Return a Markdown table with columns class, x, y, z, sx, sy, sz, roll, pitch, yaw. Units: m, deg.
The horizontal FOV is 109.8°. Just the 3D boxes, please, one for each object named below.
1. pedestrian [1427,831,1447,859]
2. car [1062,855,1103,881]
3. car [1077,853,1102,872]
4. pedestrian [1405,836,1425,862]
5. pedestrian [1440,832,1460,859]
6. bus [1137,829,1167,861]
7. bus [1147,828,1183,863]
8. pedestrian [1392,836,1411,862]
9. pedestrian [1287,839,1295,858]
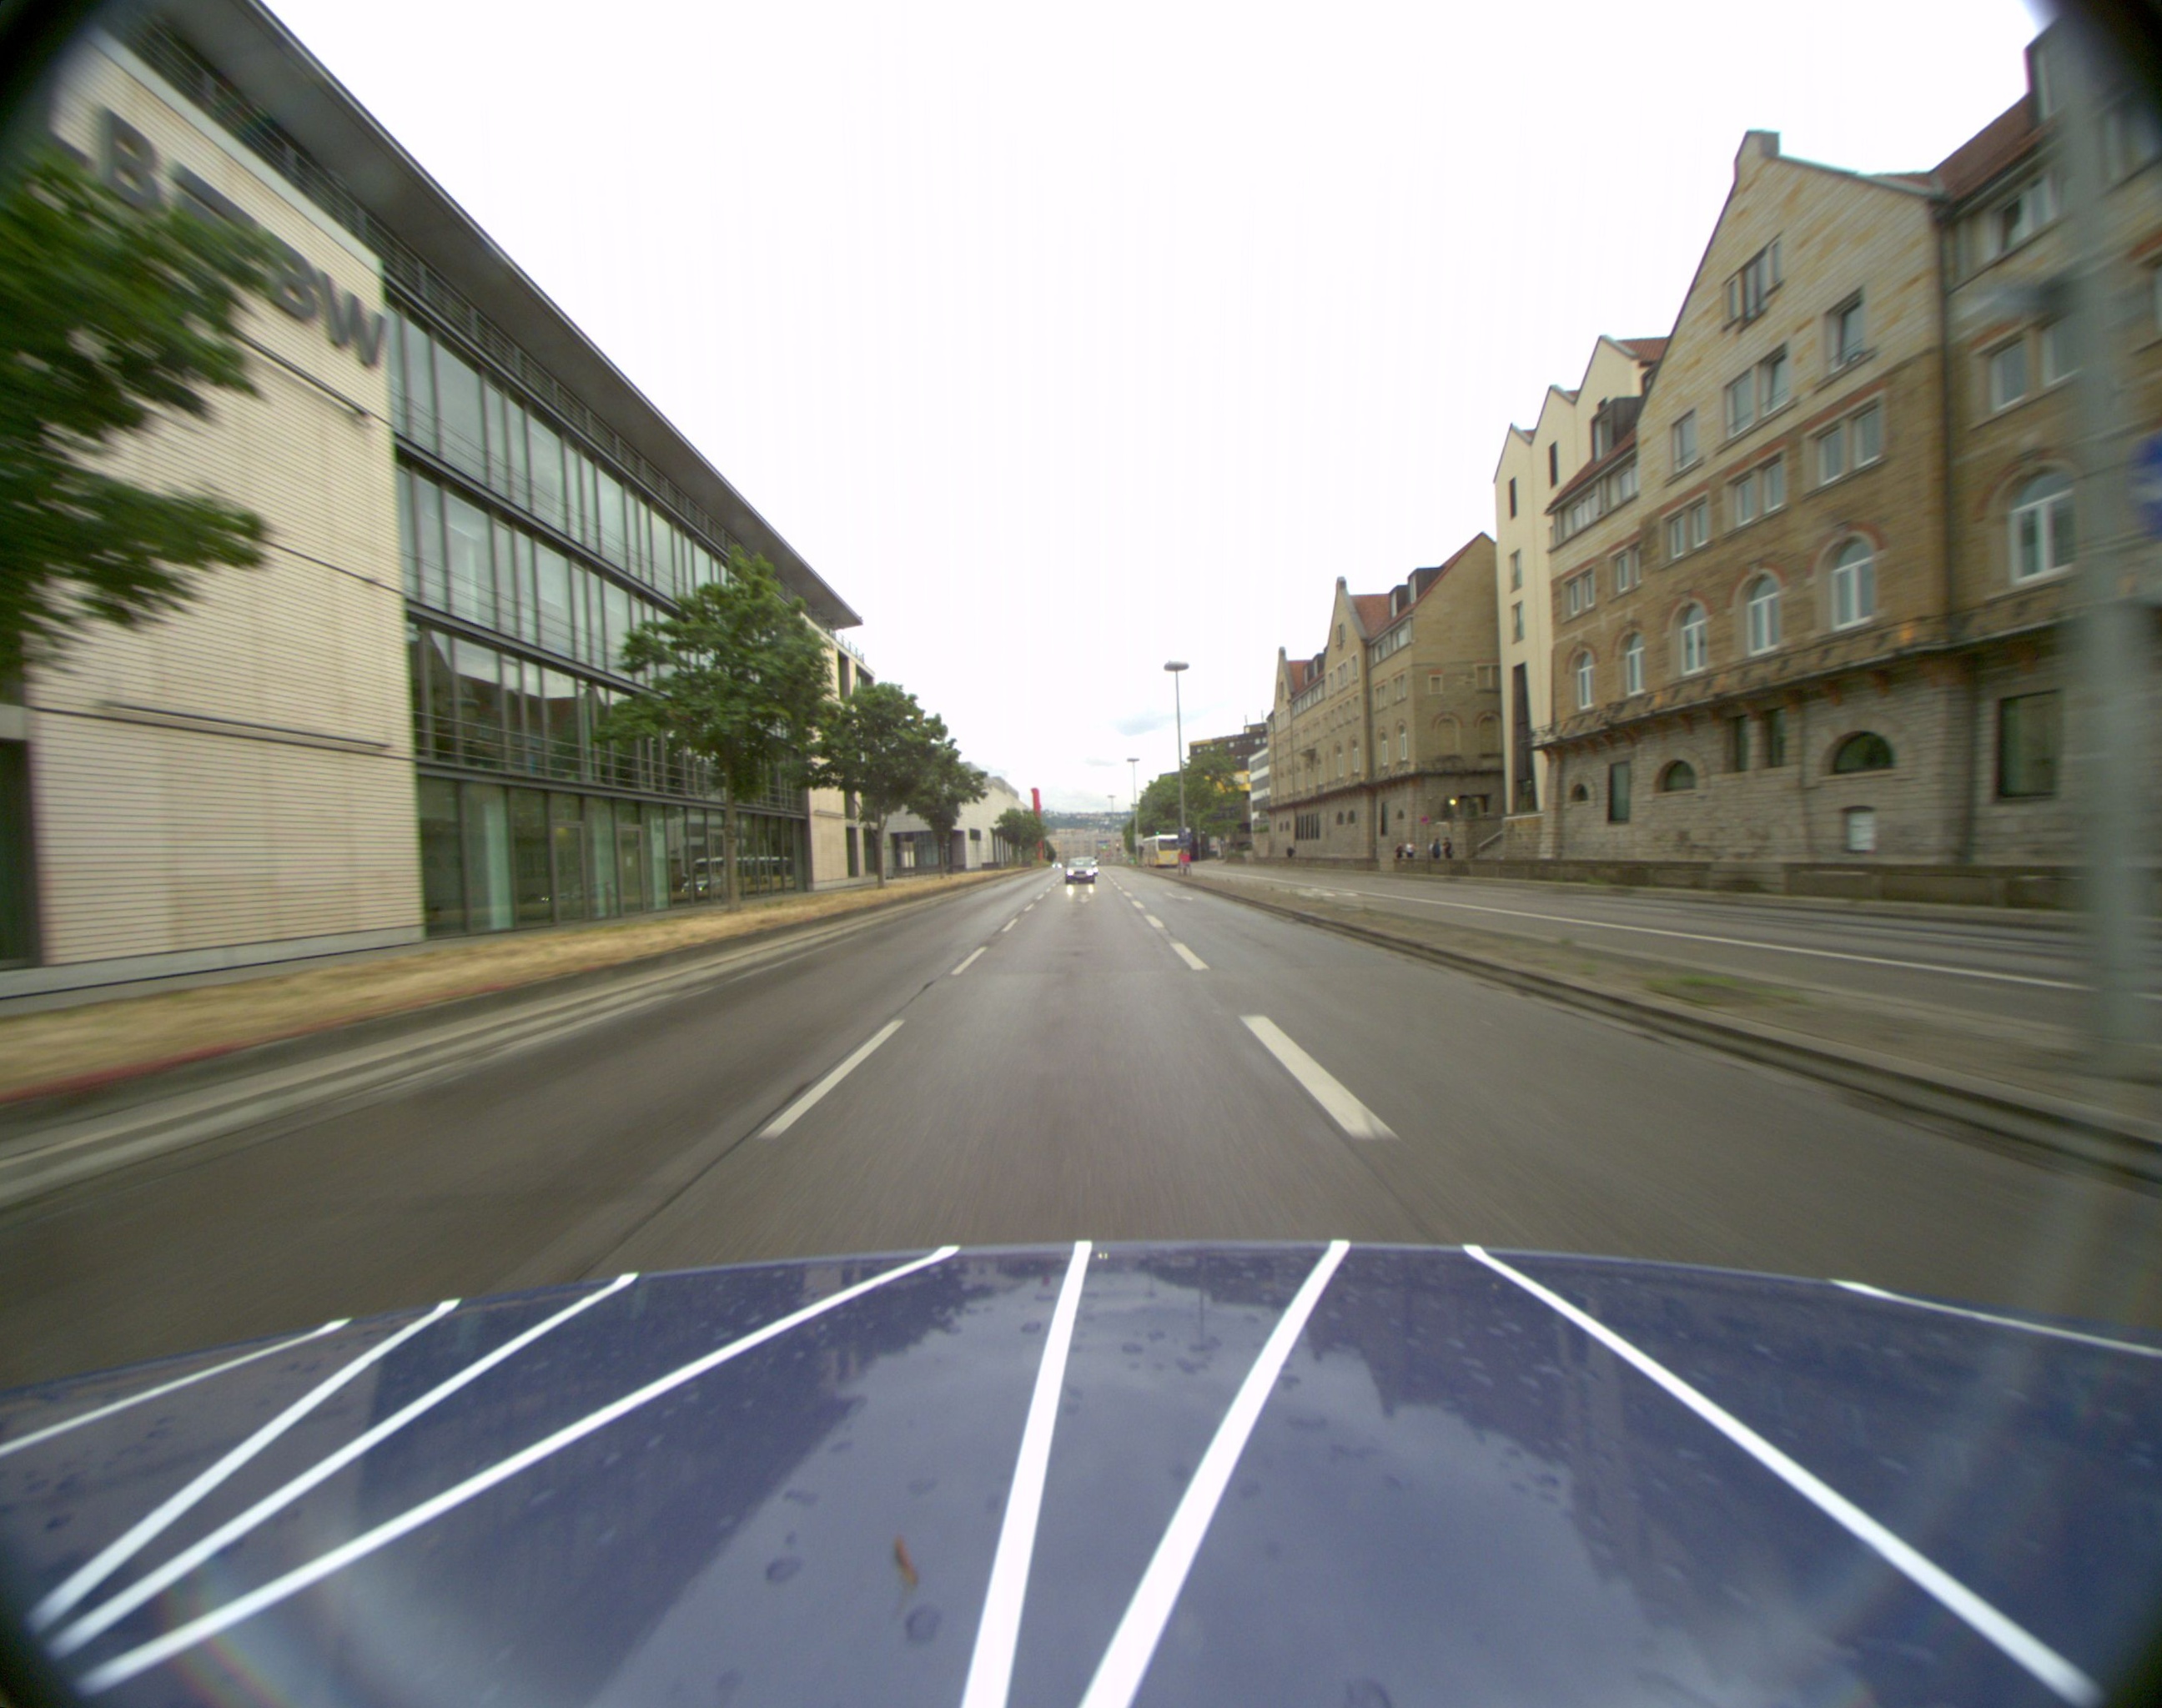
| class | x | y | z | sx | sy | sz | roll | pitch | yaw |
| --- | --- | --- | --- | --- | --- | --- | --- | --- | --- |
| pedestrian | 19.579 | -0.486 | 41.786 | 0.756 | 1.469 | 0.714 | -2 | -1 | 0 |
| car | 0.134 | 0.795 | 44.281 | 1.862 | 1.428 | 4.208 | -1 | -1 | 7 |
| car | 0.644 | 0.651 | 60.715 | 1.863 | 1.449 | 4.204 | -2 | 0 | -1 |
| pedestrian | 19.482 | -0.279 | 44.330 | 0.756 | 1.469 | 0.714 | -2 | -1 | 0 |
| pedestrian | 20.578 | -0.477 | 42.363 | 0.756 | 1.469 | 0.714 | -2 | -1 | 0 |
| bus | 8.498 | -1.001 | 91.881 | 2.705 | 3.538 | 10.093 | -2 | 0 | 0 |
| bus | 8.888 | -0.942 | 81.856 | 2.705 | 3.539 | 10.091 | -2 | 1 | 0 |
| pedestrian | 18.690 | -0.267 | 44.321 | 0.756 | 1.469 | 0.714 | -2 | -1 | 0 |
| pedestrian | 20.295 | -0.523 | 73.377 | 0.641 | 1.735 | 0.622 | -2 | -1 | 25 |
